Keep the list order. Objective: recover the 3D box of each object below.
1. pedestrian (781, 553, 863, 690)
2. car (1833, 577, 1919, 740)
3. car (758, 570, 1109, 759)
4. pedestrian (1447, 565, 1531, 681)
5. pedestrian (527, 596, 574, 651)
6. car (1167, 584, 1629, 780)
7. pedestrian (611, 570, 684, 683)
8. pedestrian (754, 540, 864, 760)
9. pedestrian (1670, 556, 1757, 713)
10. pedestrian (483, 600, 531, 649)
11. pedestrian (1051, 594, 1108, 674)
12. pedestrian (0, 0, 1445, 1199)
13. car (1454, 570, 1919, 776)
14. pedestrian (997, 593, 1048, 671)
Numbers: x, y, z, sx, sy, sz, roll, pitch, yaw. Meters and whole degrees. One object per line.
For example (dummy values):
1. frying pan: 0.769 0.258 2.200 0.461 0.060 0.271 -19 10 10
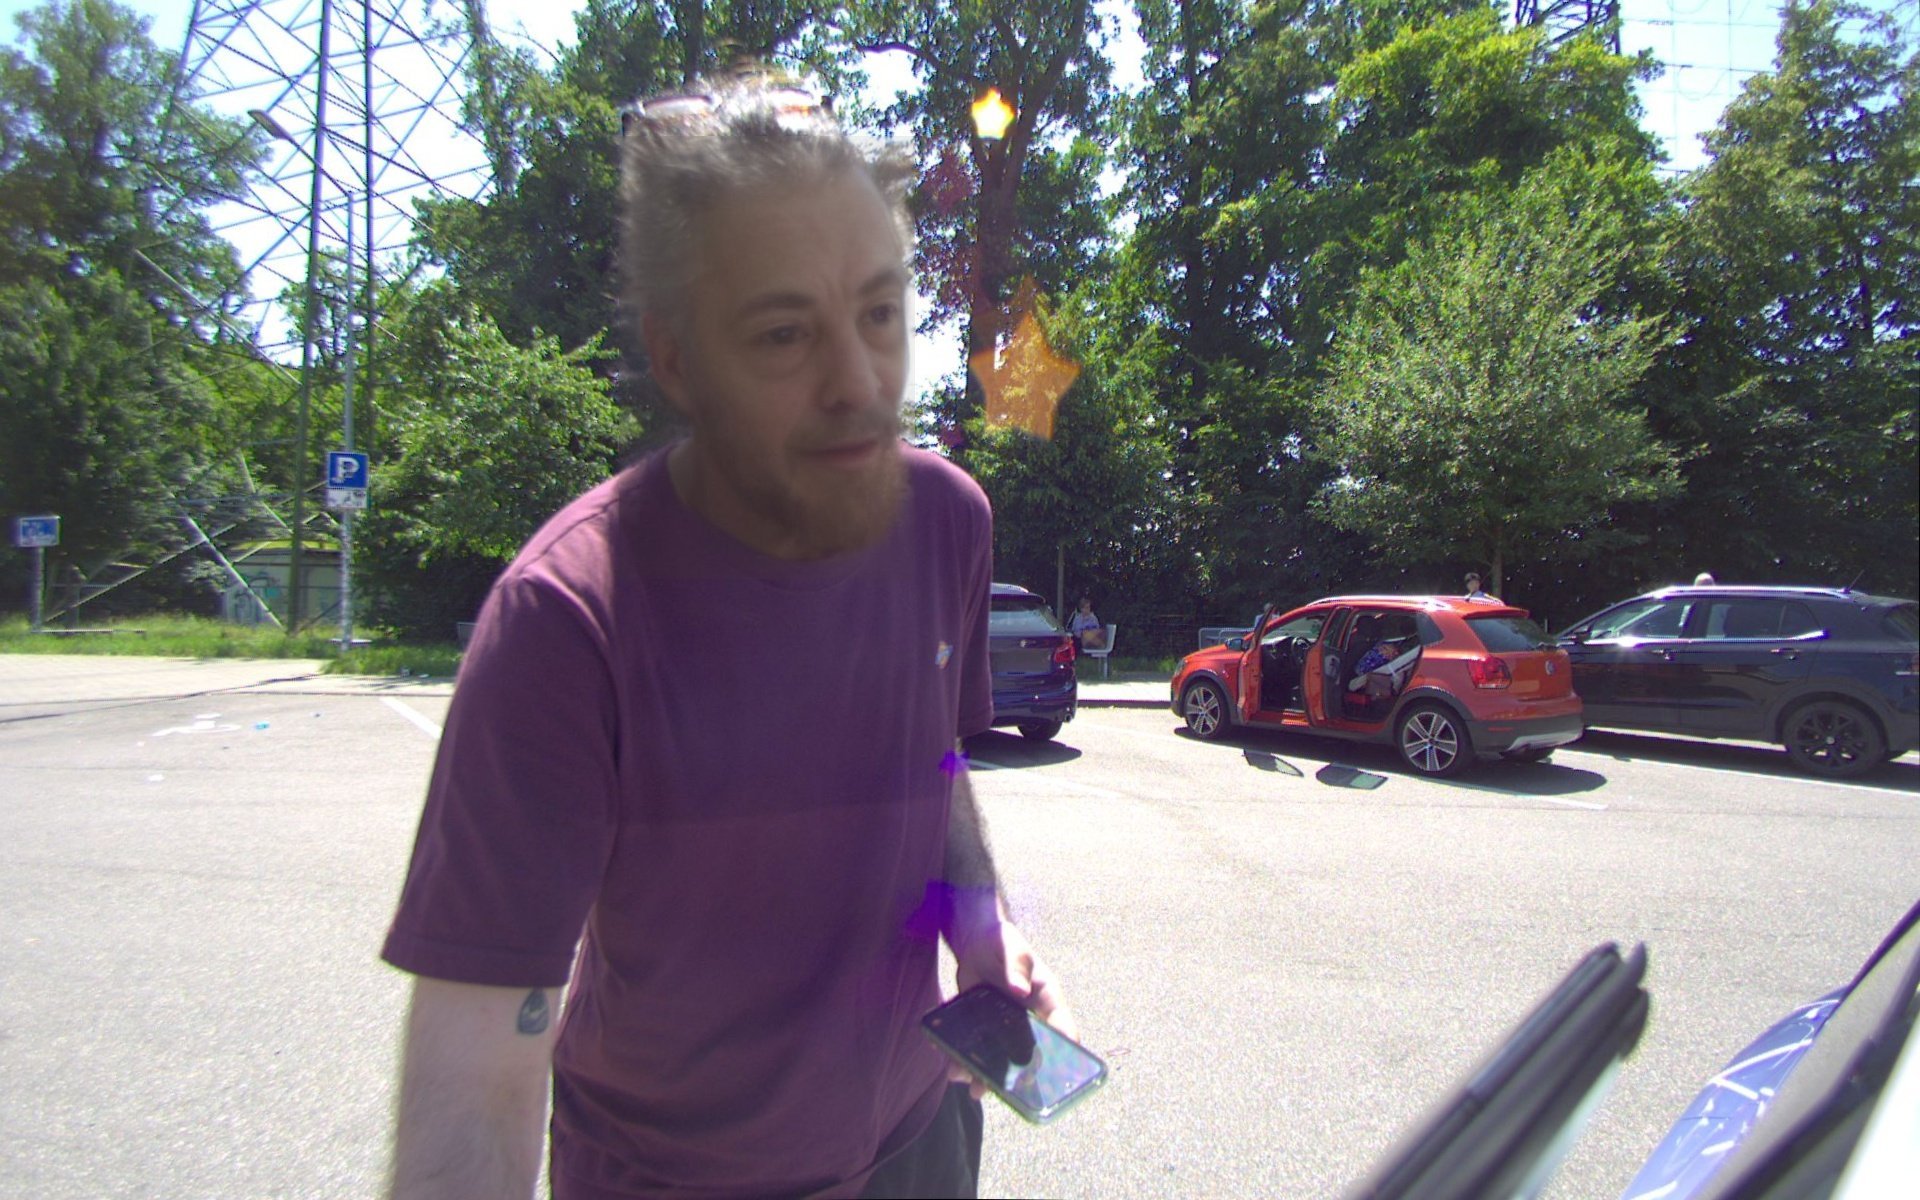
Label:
1. pedestrian: -1.881 0.284 13.790 0.786 1.784 0.809 1 -1 -39
2. car: 10.937 0.595 9.391 1.745 1.612 3.972 1 0 -32
3. car: -0.476 0.538 10.705 1.809 1.588 4.017 1 0 -35
4. pedestrian: 7.545 0.323 14.463 0.793 1.614 0.716 1 -1 -5
5. pedestrian: -9.565 0.547 23.630 0.796 1.253 0.713 1 -1 -44
6. car: 3.934 0.616 9.656 1.746 1.475 3.710 1 0 -33
7. pedestrian: -4.624 0.381 14.975 0.762 1.614 0.808 1 -1 -40
8. pedestrian: -1.361 0.420 9.051 0.701 1.851 0.906 1 -1 -27
9. pedestrian: 9.358 0.415 12.587 0.672 1.889 0.710 0 -1 19
10. pedestrian: -10.275 0.546 22.960 0.796 1.062 0.714 1 -1 -43
11. pedestrian: 1.990 0.557 16.935 0.656 1.311 0.832 1 -1 -17
12. pedestrian: -0.194 0.398 0.853 0.828 1.797 0.926 0 -1 45
13. car: 7.215 0.571 9.843 1.807 1.612 3.967 1 0 -38
14. pedestrian: 1.051 0.531 17.191 0.656 1.285 0.655 1 -1 -17
